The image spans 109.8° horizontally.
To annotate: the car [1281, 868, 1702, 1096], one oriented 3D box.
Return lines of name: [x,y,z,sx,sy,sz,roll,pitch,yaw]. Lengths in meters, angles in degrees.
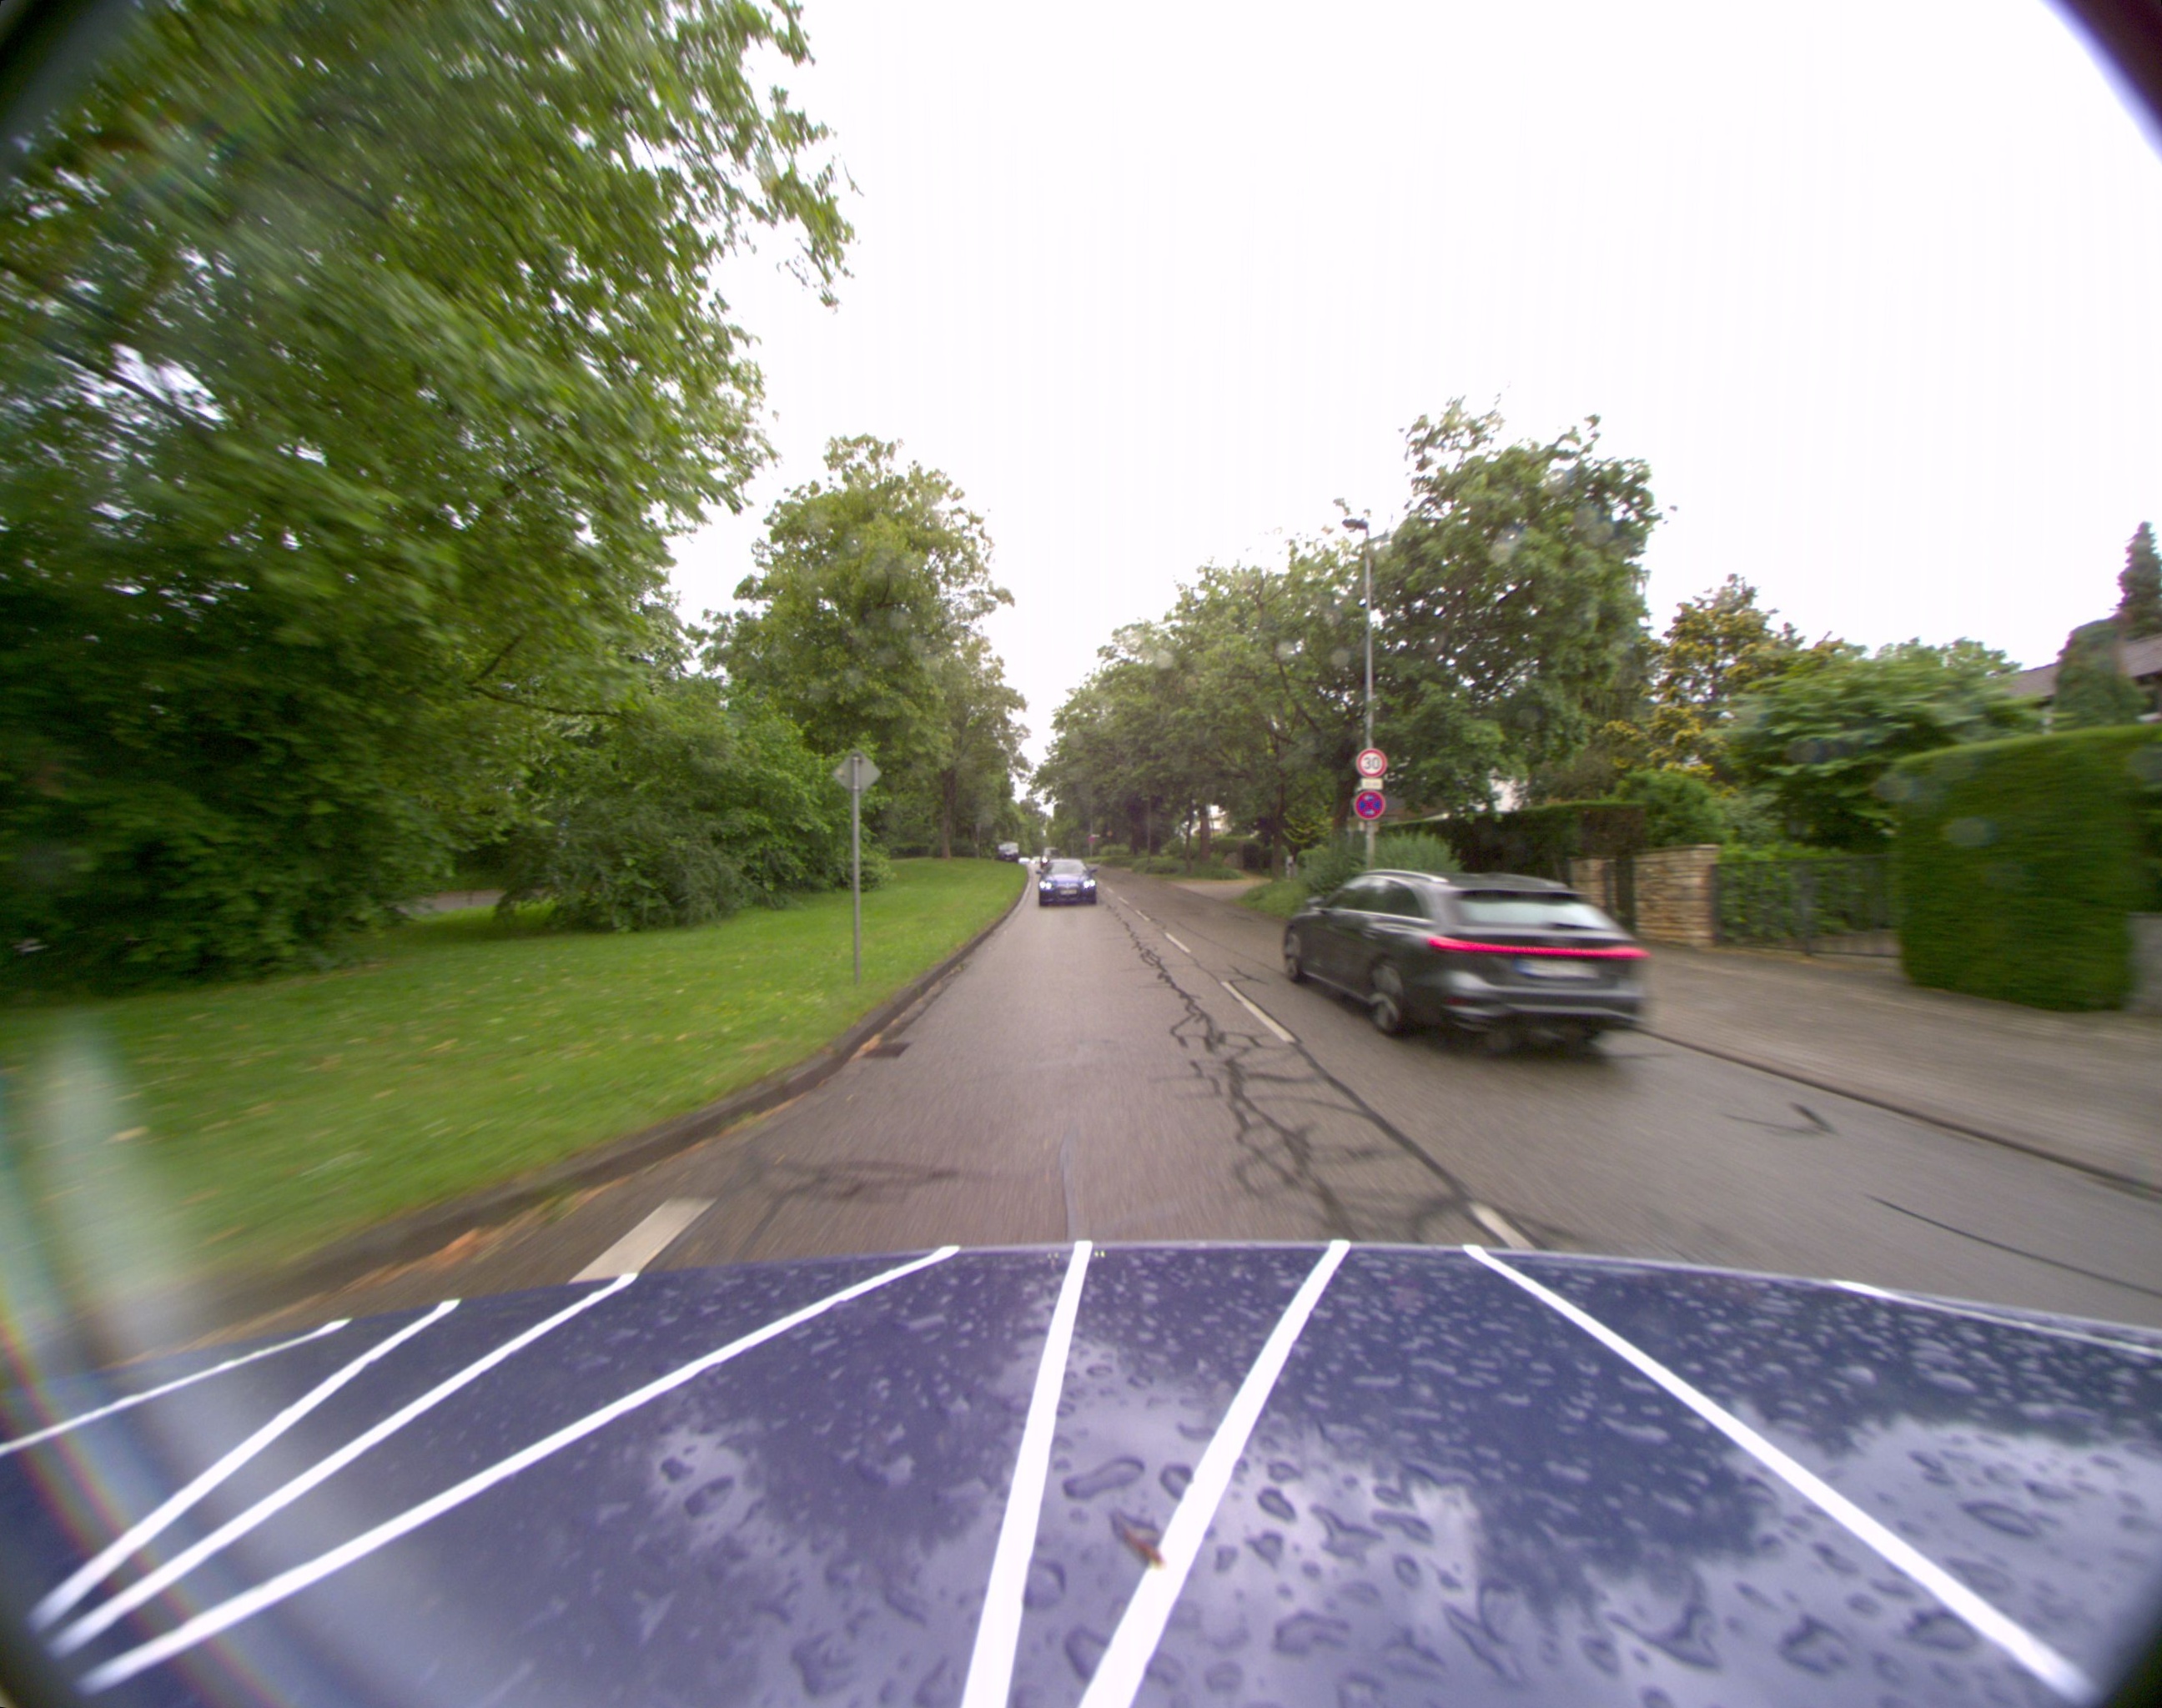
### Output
car: [3.425,0.930,7.498,1.694,1.388,4.490,2,1,0]

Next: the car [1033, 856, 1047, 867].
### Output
car: [-6.292,1.131,116.621,1.677,1.542,3.834,1,-1,4]

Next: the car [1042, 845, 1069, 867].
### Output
car: [-1.988,0.182,57.625,1.797,1.458,4.509,0,-2,-5]

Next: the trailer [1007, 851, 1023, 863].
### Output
trailer: [-9.253,0.396,106.759,1.999,1.590,4.569,-2,-1,-4]

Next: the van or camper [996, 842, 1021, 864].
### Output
van or camper: [-6.540,-0.099,69.037,1.999,1.858,5.662,1,1,-4]

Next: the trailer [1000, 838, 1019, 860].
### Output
trailer: [-6.962,-0.474,74.063,1.701,2.042,3.949,0,1,-4]

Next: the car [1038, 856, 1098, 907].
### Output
car: [-0.436,0.850,25.785,1.796,1.459,4.508,-1,1,-1]
